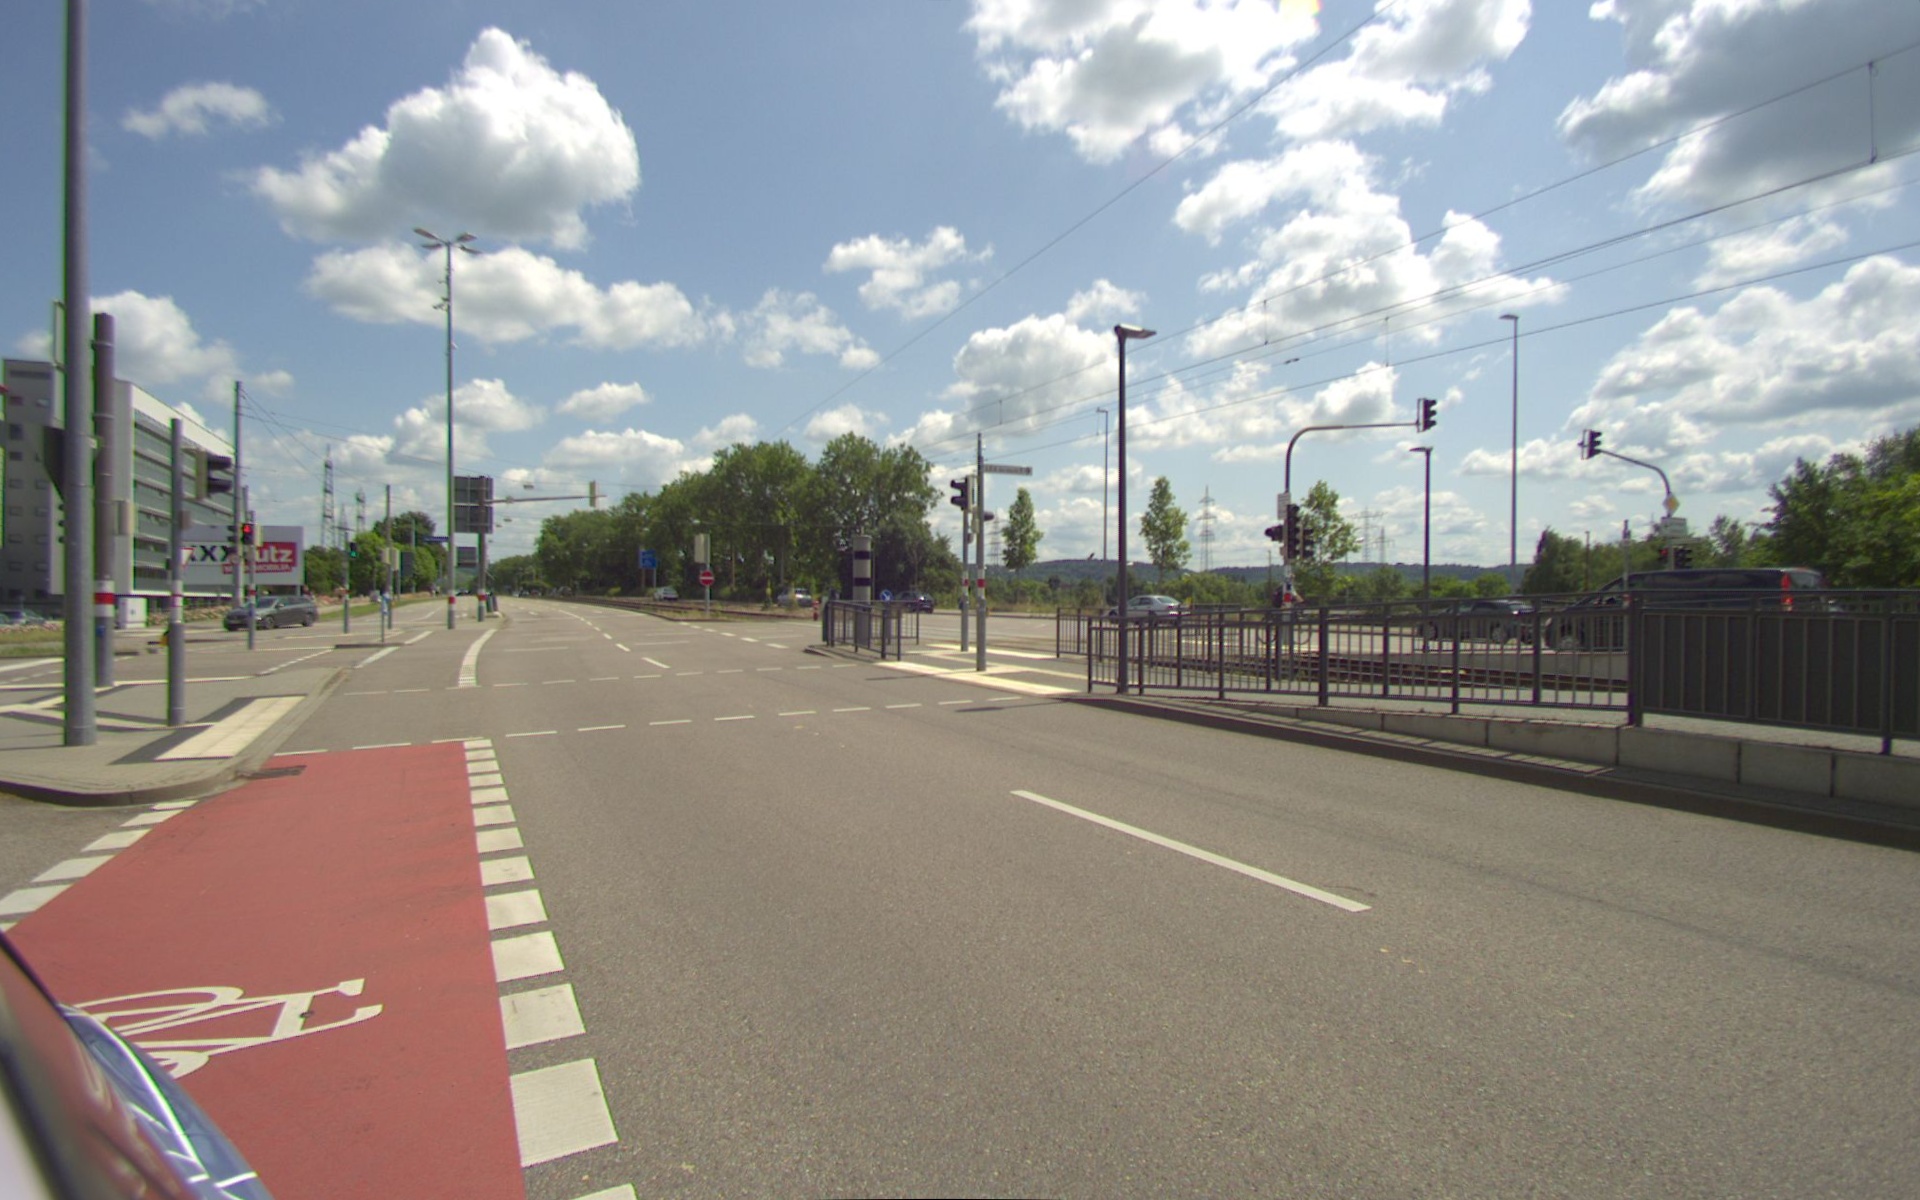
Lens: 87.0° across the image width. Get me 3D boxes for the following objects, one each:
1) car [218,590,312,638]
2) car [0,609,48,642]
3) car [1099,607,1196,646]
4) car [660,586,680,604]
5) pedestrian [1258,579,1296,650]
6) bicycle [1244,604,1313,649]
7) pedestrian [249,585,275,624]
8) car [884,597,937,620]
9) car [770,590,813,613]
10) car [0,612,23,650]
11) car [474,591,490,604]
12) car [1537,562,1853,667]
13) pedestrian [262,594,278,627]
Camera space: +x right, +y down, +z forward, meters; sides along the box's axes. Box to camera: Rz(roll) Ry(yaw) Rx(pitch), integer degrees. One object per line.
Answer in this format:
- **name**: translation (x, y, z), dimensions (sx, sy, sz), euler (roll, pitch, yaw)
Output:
- **car**: translation (-30.914, 0.622, 45.146), dimensions (1.968, 2.029, 4.008), euler (-1, -1, -10)
- **car**: translation (-59.947, 1.585, 64.075), dimensions (2.210, 2.004, 4.377), euler (0, -1, -26)
- **car**: translation (8.866, 1.238, 48.255), dimensions (1.853, 1.787, 4.680), euler (0, -1, -32)
- **car**: translation (-31.213, -0.492, 108.912), dimensions (1.966, 1.822, 5.148), euler (-1, -1, -15)
- **pedestrian**: translation (8.118, 0.367, 25.895), dimensions (0.660, 1.782, 0.615), euler (-1, 0, -24)
- **bicycle**: translation (8.152, 0.672, 25.911), dimensions (1.692, 1.095, 0.623), euler (-1, 0, -24)
- **pedestrian**: translation (-34.342, 0.213, 49.773), dimensions (0.796, 1.851, 0.857), euler (2, 2, 36)
- **car**: translation (-3.227, 0.563, 65.389), dimensions (1.642, 1.419, 3.903), euler (-1, 0, -33)
- **car**: translation (-13.589, 0.160, 81.471), dimensions (1.783, 1.671, 4.334), euler (5, -3, -33)
- **car**: translation (-53.031, 1.686, 54.997), dimensions (1.965, 2.004, 4.377), euler (0, -1, -26)
- **car**: translation (-77.741, -0.437, 164.550), dimensions (1.965, 2.029, 4.013), euler (-1, -1, -19)
- **car**: translation (14.364, 0.282, 20.135), dimensions (1.965, 1.834, 4.682), euler (0, -1, -26)
- **pedestrian**: translation (-37.960, 0.568, 55.667), dimensions (0.587, 1.824, 0.536), euler (-1, -1, -15)
